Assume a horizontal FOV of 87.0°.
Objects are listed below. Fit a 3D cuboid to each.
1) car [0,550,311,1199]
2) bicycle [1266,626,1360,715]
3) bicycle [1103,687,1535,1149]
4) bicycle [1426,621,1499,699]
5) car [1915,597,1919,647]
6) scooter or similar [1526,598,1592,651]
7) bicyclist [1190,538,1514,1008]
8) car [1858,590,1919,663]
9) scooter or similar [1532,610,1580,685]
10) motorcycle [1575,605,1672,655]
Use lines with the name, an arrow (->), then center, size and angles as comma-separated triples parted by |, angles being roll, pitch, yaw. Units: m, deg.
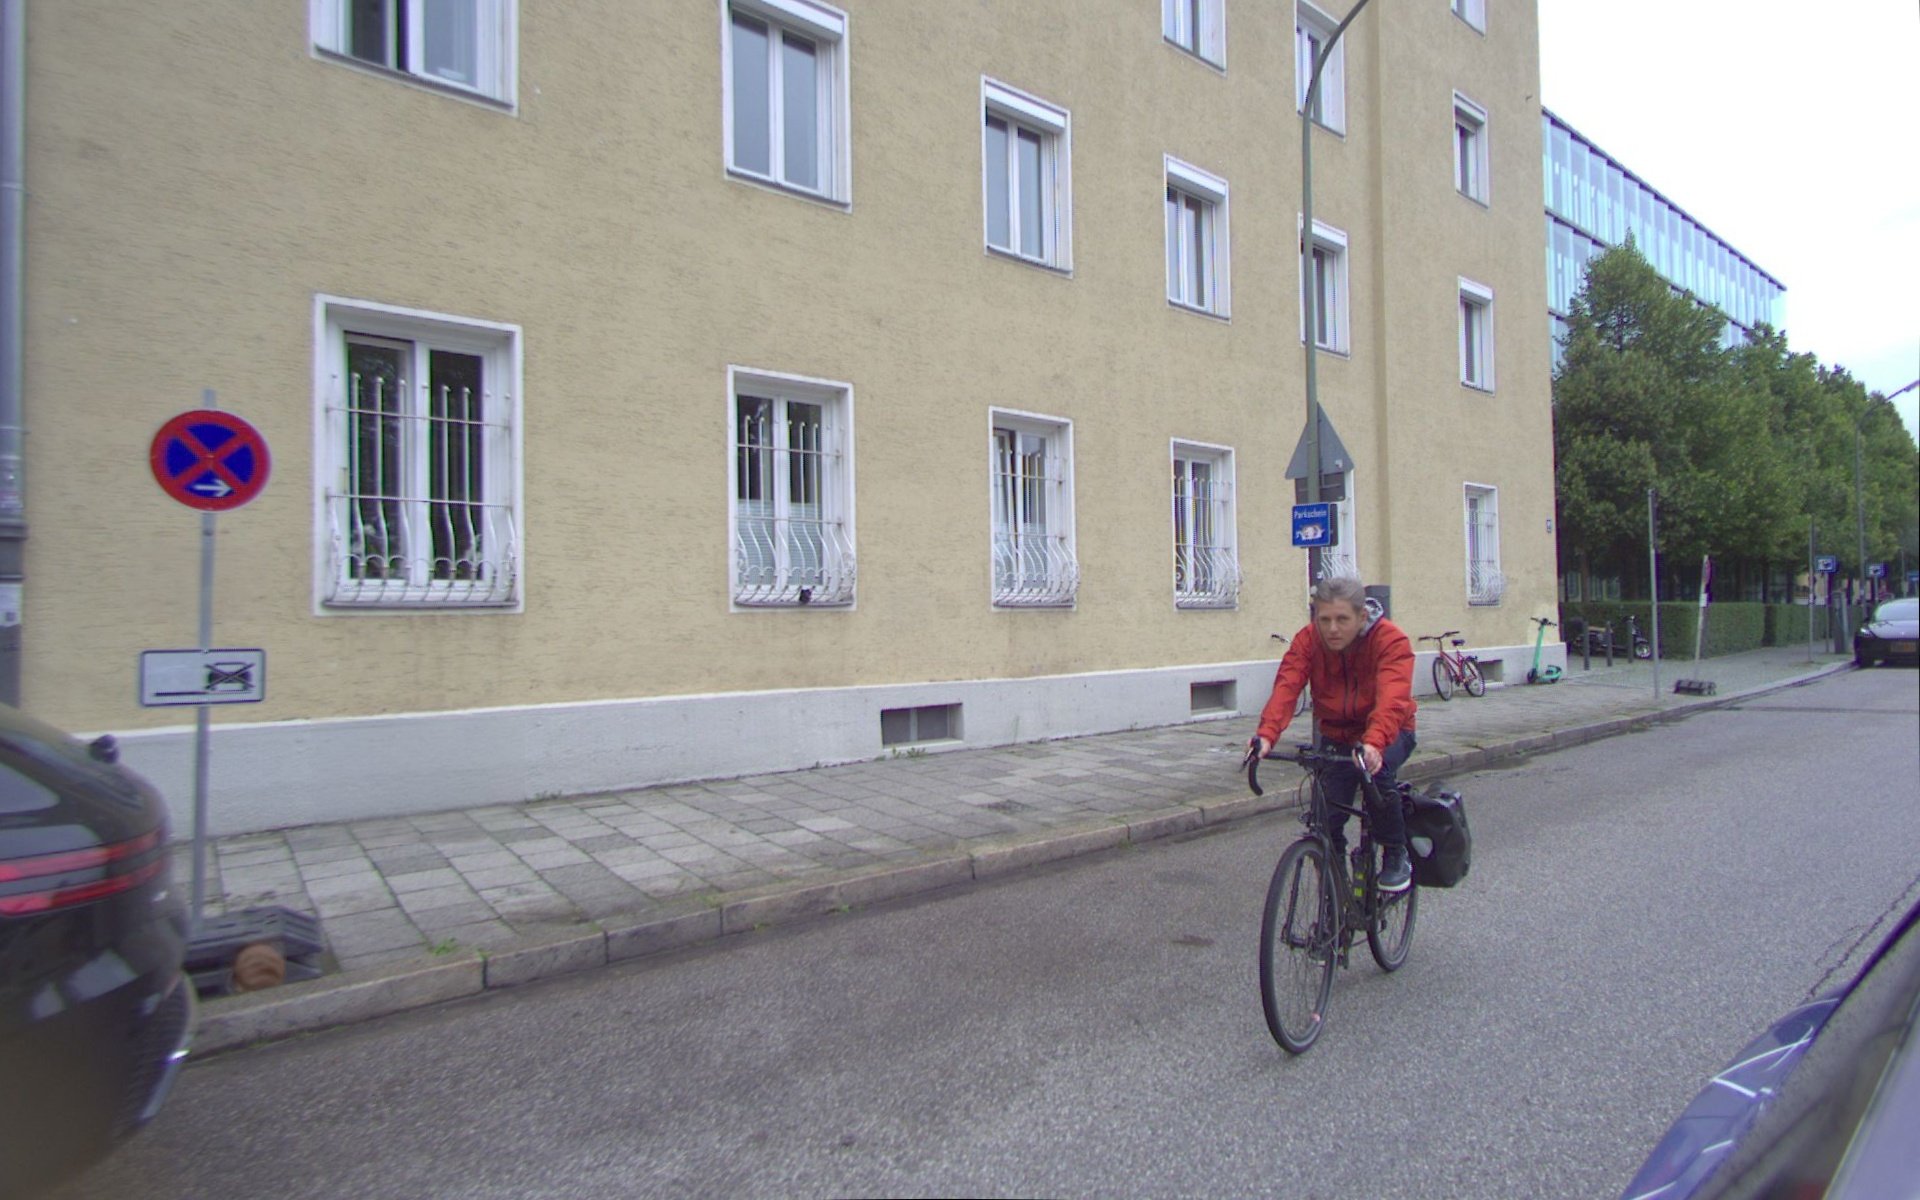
car -> -3.876, 0.714, 1.395 | 4.815, 1.597, 1.863 | 0, 0, -42
bicycle -> 4.807, 0.926, 13.732 | 1.781, 1.095, 0.342 | -1, 1, -40
bicycle -> 1.441, 0.979, 3.807 | 1.977, 1.156, 0.672 | 0, -3, -44
bicycle -> 7.915, 0.917, 15.913 | 1.728, 1.150, 0.342 | 0, -1, -40
car -> 30.683, 0.597, 30.736 | 4.872, 1.479, 1.995 | 0, -3, -42
scooter or similar -> 15.763, 0.619, 26.641 | 0.659, 1.318, 1.349 | -3, 2, -43
bicyclist -> 1.504, 0.564, 3.867 | 0.965, 1.502, 0.755 | 0, -3, -44
car -> 23.698, 0.573, 24.478 | 5.006, 1.652, 1.998 | 0, -2, -38
scooter or similar -> 10.775, 0.839, 18.286 | 1.286, 1.271, 0.342 | 0, 0, -40
motorcycle -> 16.618, 0.737, 25.381 | 0.695, 1.147, 1.899 | 0, 1, -38
